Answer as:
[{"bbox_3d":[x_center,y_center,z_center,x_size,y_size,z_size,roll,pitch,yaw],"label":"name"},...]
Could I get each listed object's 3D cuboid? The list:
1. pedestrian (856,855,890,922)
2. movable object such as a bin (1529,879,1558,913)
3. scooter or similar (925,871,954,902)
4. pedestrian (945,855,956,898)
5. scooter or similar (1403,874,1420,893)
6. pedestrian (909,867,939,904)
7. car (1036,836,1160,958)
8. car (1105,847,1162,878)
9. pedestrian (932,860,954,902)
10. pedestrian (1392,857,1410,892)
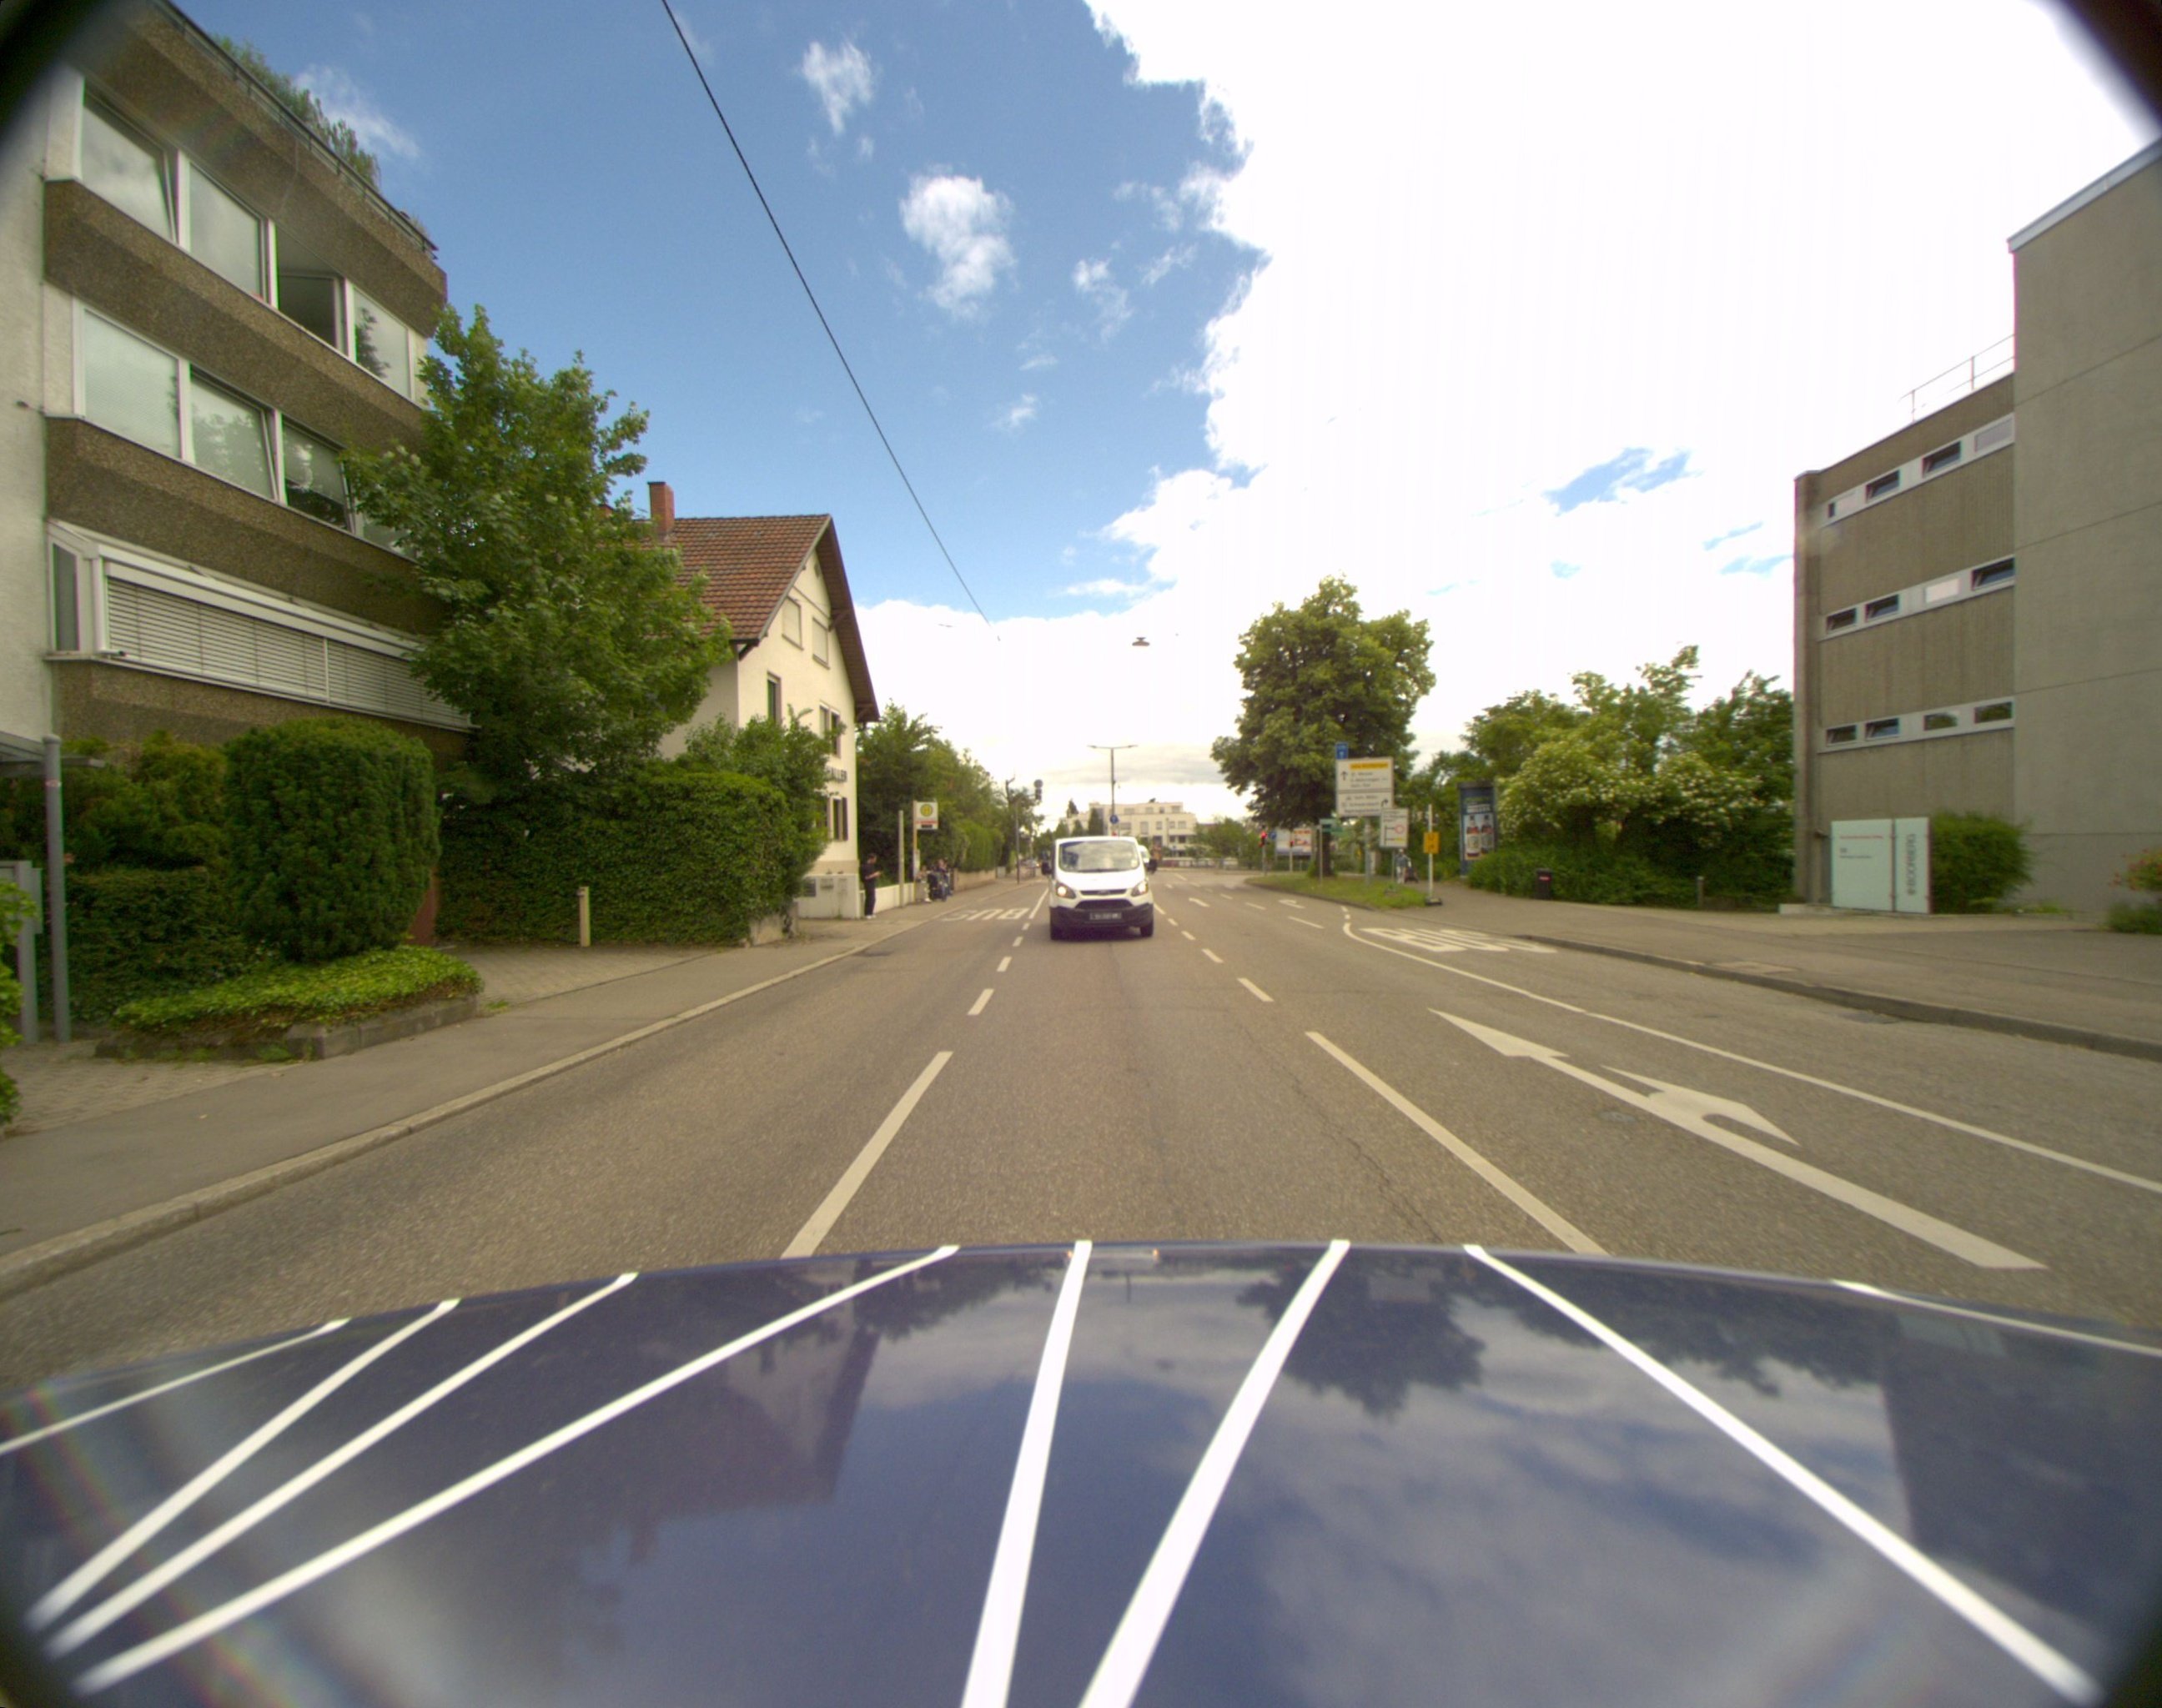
[{"bbox_3d":[-5.582,0.913,20.411,0.489,1.757,0.672,-1,1,32],"label":"pedestrian"},{"bbox_3d":[13.299,1.197,21.872,0.566,0.922,0.608,-1,1,17],"label":"movable object such as a bin"},{"bbox_3d":[-5.187,1.186,27.856,0.478,1.091,0.860,3,1,43],"label":"scooter or similar"},{"bbox_3d":[-5.410,0.940,31.423,0.344,1.745,0.496,2,1,-4],"label":"pedestrian"},{"bbox_3d":[14.641,1.299,33.650,0.607,0.782,0.860,-2,1,18],"label":"scooter or similar"},{"bbox_3d":[-5.557,1.105,26.958,0.916,1.244,0.789,2,1,-5],"label":"pedestrian"},{"bbox_3d":[0.272,0.693,15.538,1.999,1.961,5.714,-2,1,0],"label":"car"},{"bbox_3d":[4.795,0.756,70.924,2.200,2.630,7.432,-2,1,-22],"label":"car"},{"bbox_3d":[-5.219,1.025,28.706,0.661,1.526,0.748,2,1,-1],"label":"pedestrian"},{"bbox_3d":[14.624,0.927,34.702,0.672,1.549,0.520,-2,1,18],"label":"pedestrian"}]
